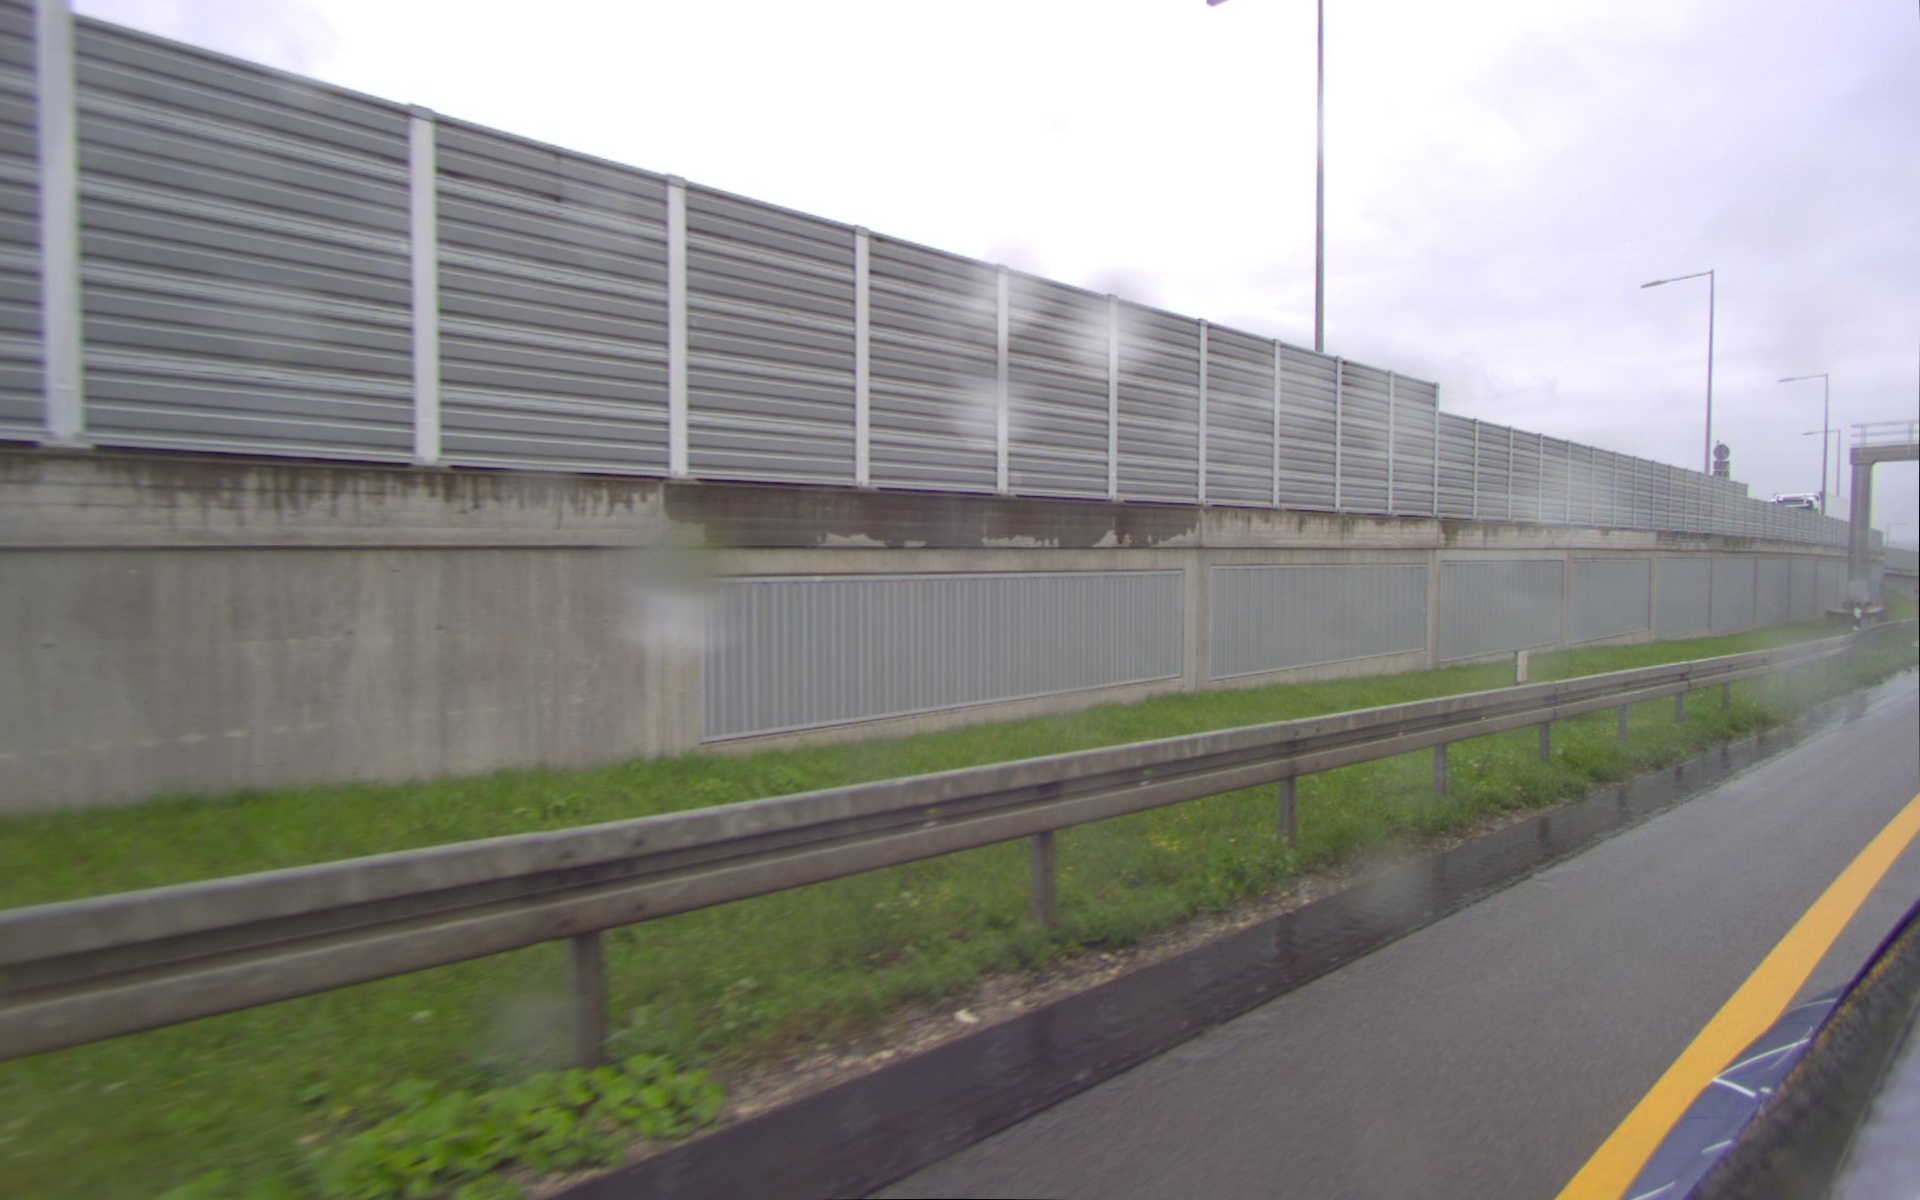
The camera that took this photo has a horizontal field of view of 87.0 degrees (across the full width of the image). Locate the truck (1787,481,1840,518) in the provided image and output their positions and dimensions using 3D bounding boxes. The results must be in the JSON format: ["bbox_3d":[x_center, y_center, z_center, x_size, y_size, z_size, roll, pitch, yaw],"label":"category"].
[{"bbox_3d":[53.773,-6.282,63.755,3.989,2.038,1.997,-2,2,-41],"label":"truck"}]
